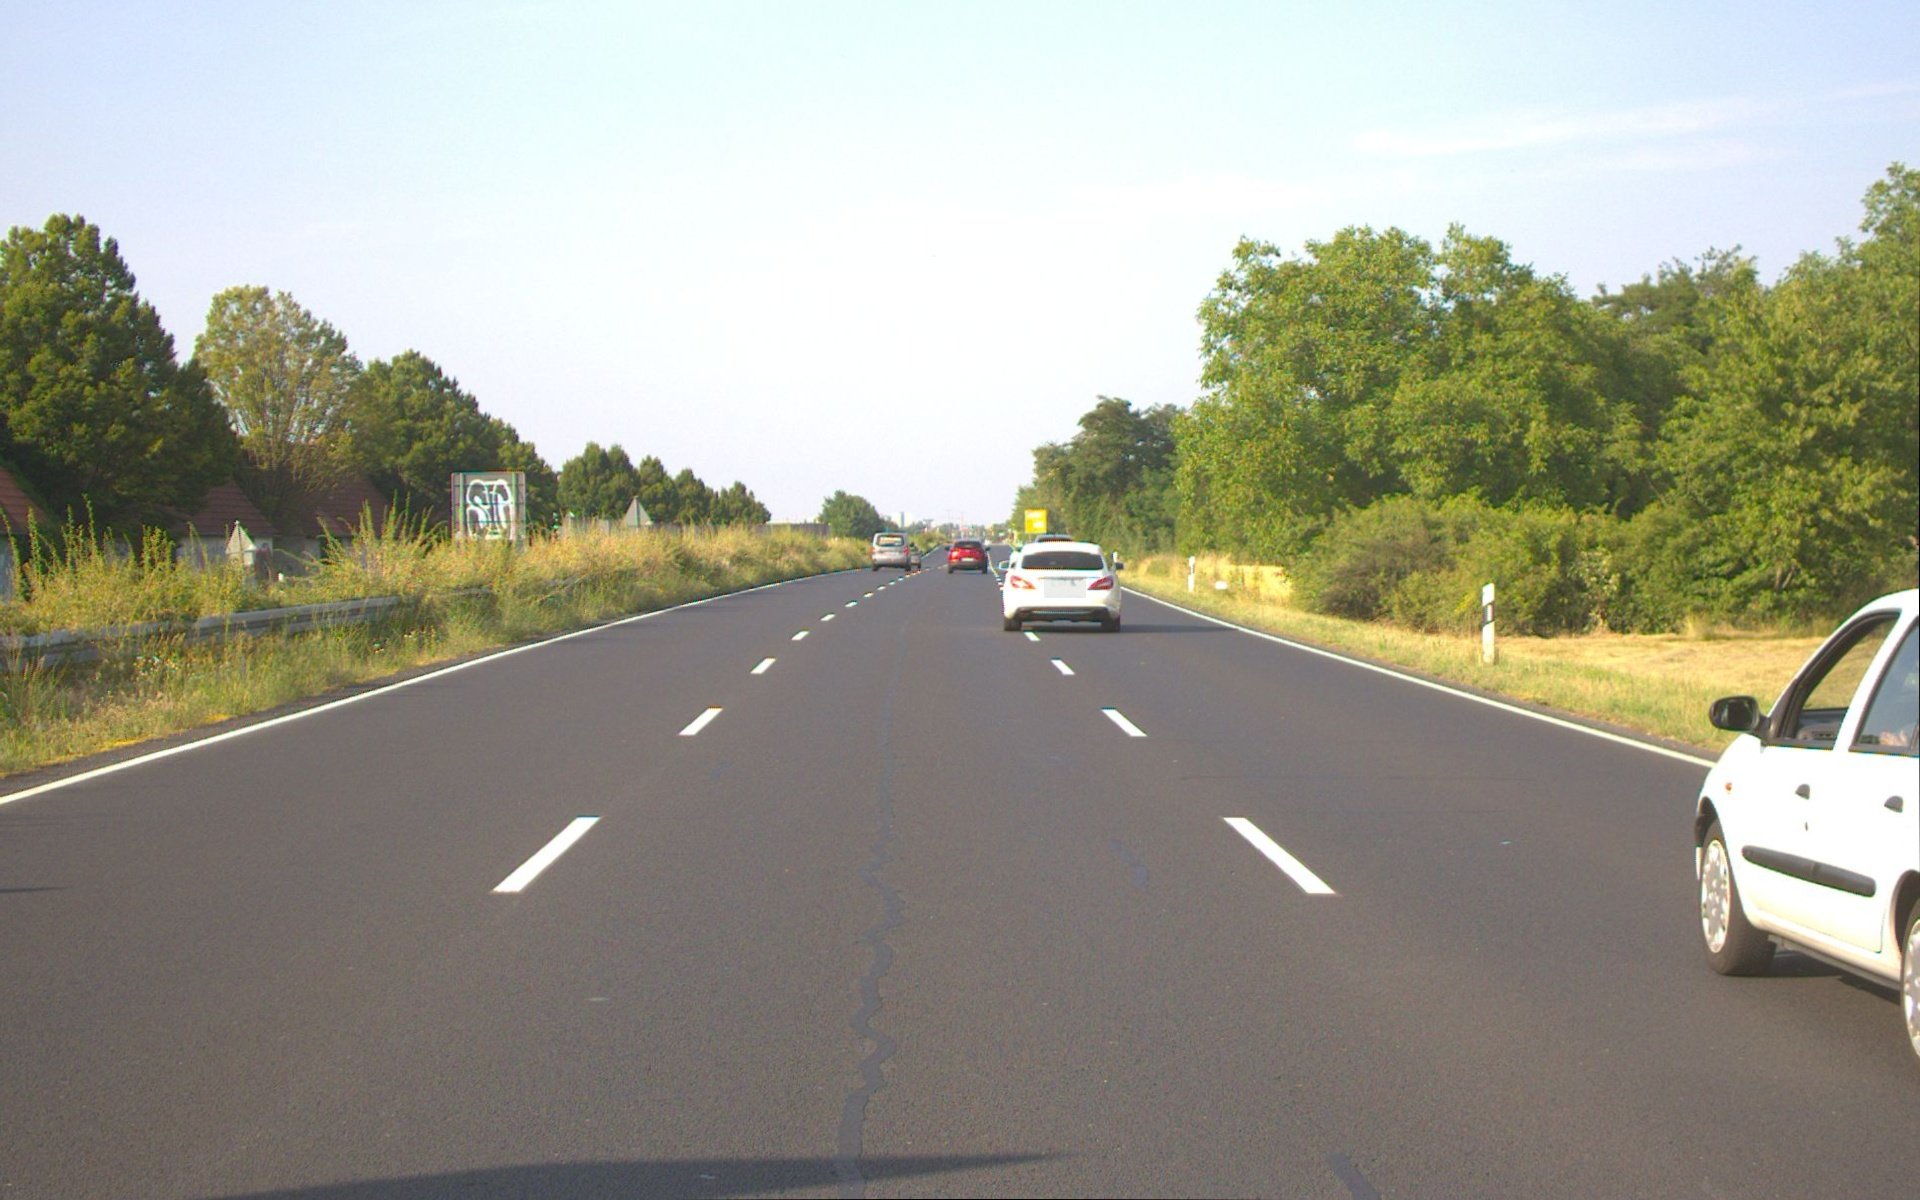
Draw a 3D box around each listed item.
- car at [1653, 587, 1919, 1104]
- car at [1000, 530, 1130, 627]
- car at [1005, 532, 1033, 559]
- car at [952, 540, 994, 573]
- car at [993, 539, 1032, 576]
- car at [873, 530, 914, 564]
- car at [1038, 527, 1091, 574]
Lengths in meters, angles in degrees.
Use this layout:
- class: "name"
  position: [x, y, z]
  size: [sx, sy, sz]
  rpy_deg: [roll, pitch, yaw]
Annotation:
- class: "car"
  position: [3.388, 0.662, 10.755]
  size: [1.617, 1.382, 3.951]
  rpy_deg: [1, 0, 0]
- class: "car"
  position: [1.674, -0.350, 56.014]
  size: [1.993, 1.511, 4.000]
  rpy_deg: [1, 0, 0]
- class: "car"
  position: [3.815, -3.524, 220.850]
  size: [1.770, 1.678, 4.000]
  rpy_deg: [1, 0, 1]
- class: "car"
  position: [0.571, -1.914, 152.444]
  size: [1.812, 1.431, 3.858]
  rpy_deg: [1, 0, 0]
- class: "car"
  position: [2.513, -2.026, 164.402]
  size: [1.834, 1.711, 3.862]
  rpy_deg: [1, 0, 1]
- class: "car"
  position: [-3.278, -2.604, 169.448]
  size: [1.758, 1.612, 4.000]
  rpy_deg: [1, 0, 2]
- class: "car"
  position: [3.861, -1.820, 127.623]
  size: [1.828, 1.722, 4.000]
  rpy_deg: [1, 0, 0]
